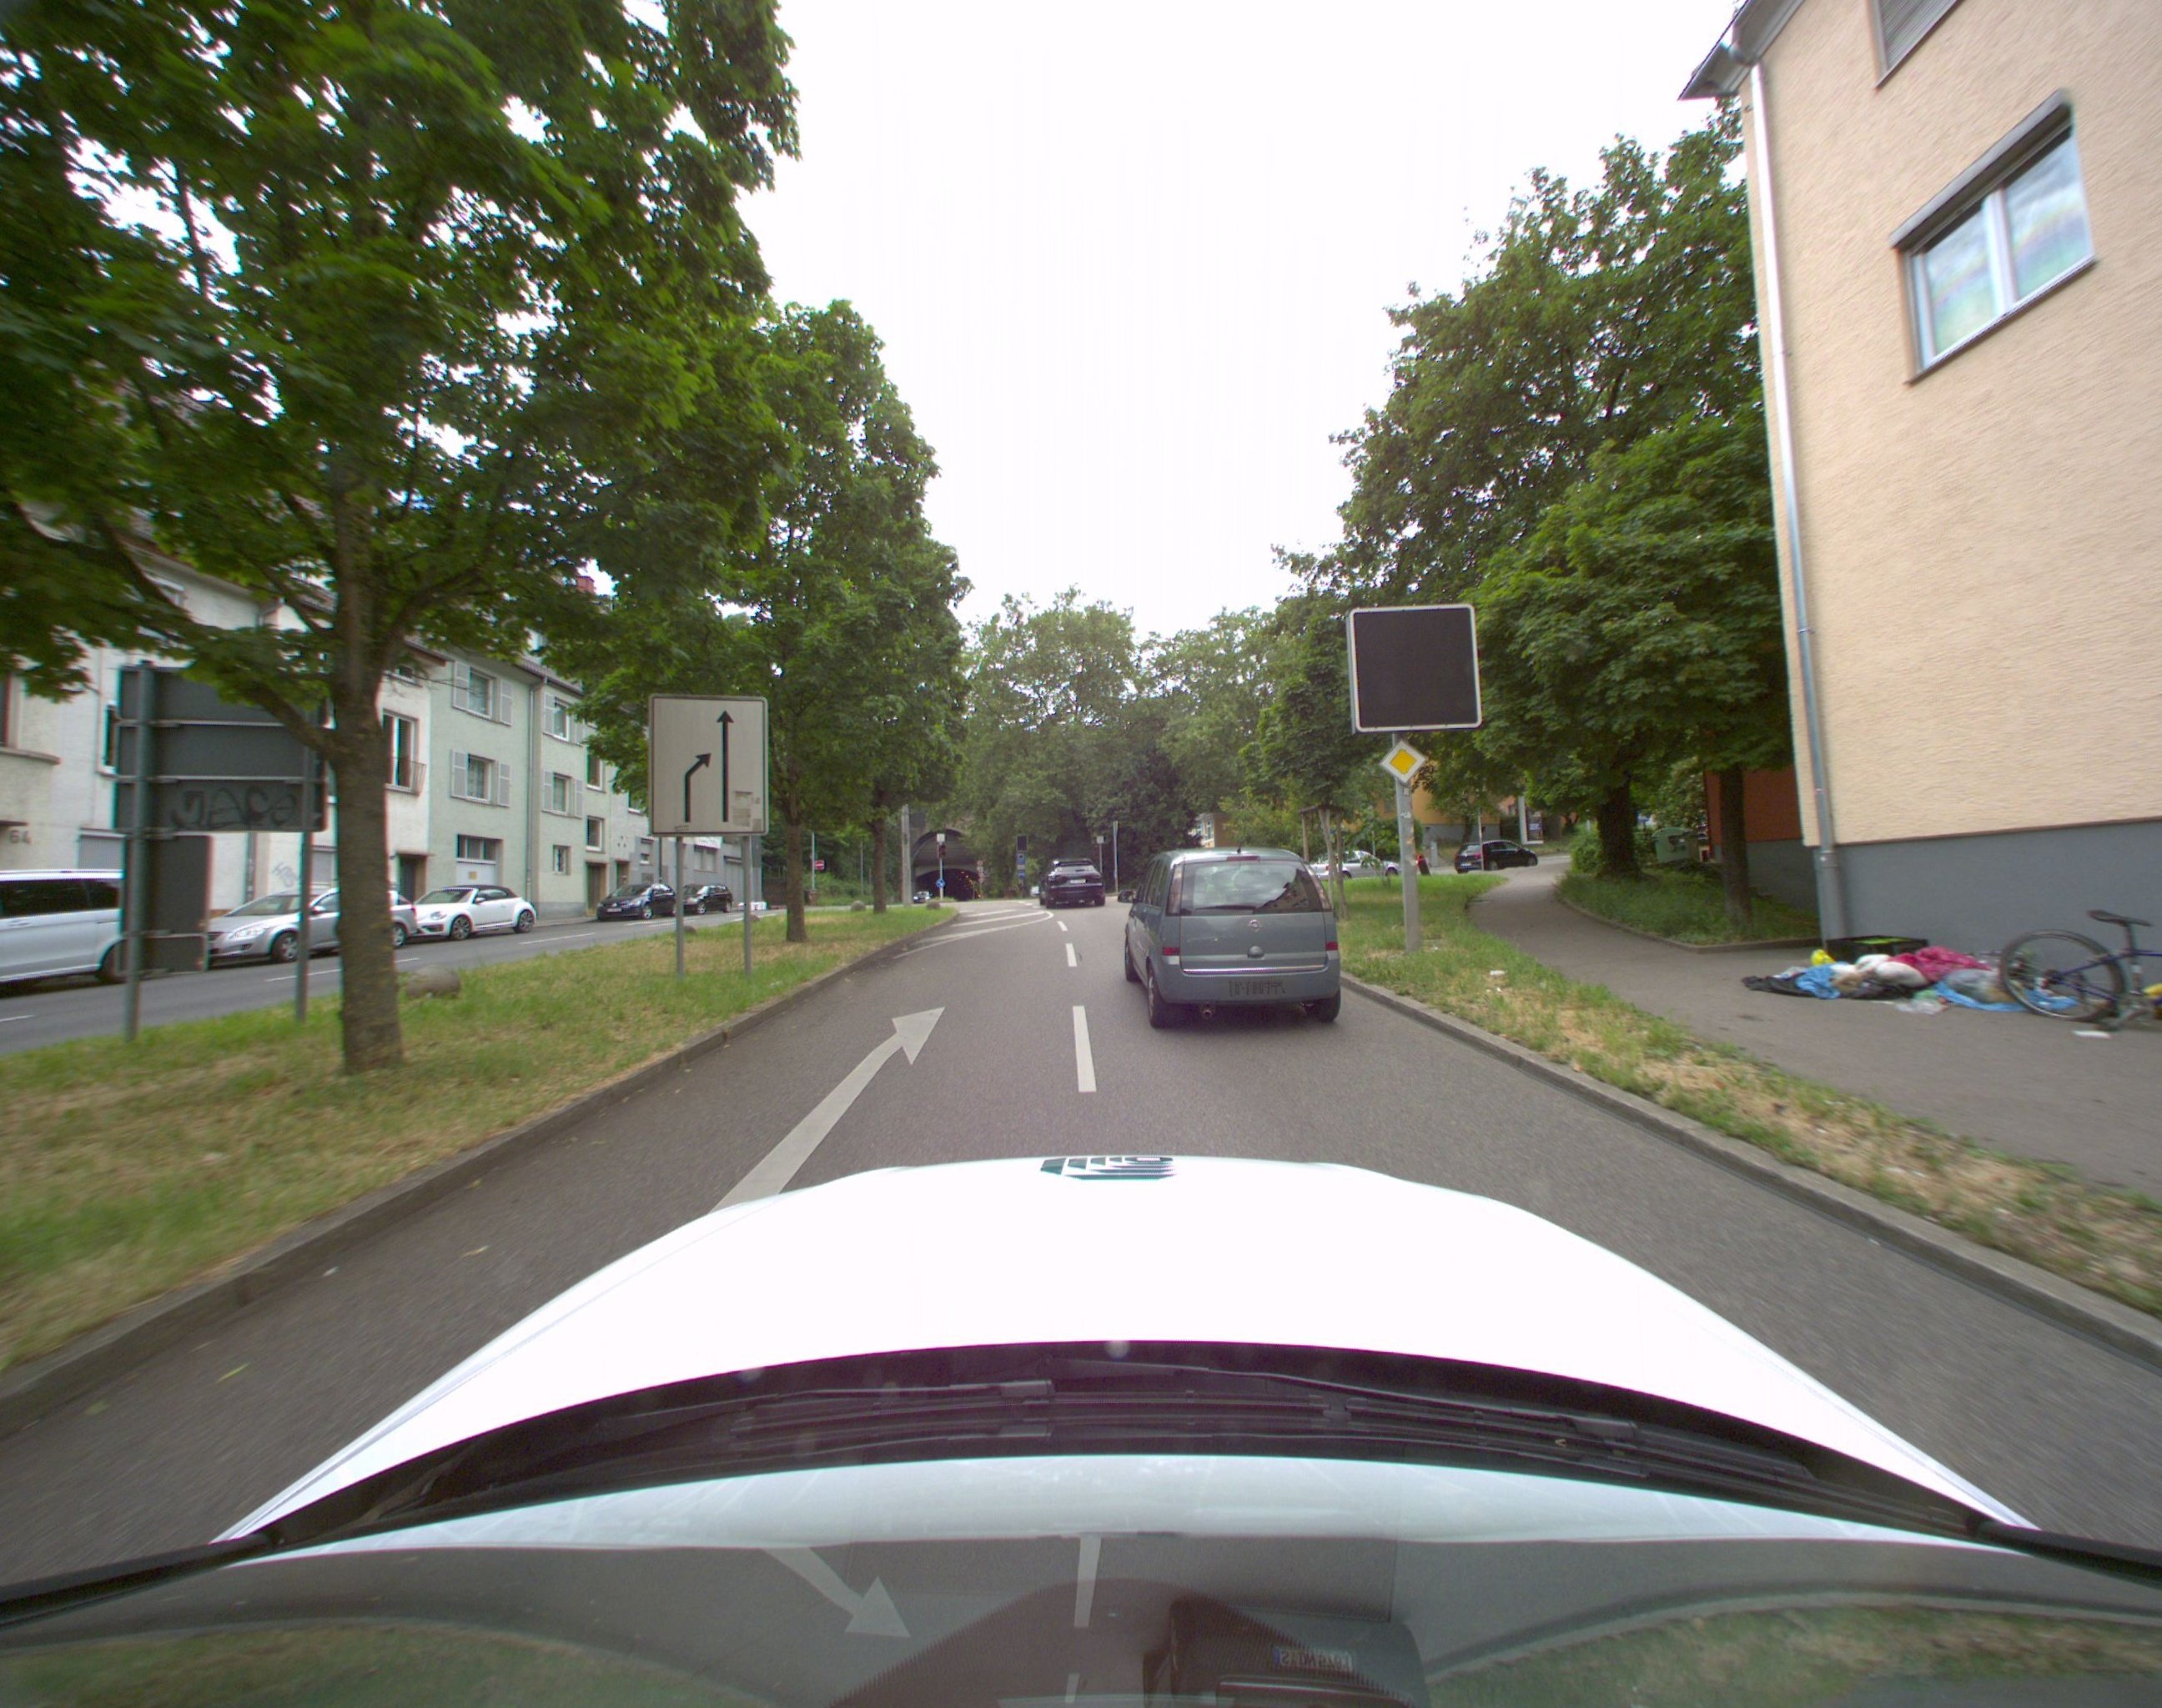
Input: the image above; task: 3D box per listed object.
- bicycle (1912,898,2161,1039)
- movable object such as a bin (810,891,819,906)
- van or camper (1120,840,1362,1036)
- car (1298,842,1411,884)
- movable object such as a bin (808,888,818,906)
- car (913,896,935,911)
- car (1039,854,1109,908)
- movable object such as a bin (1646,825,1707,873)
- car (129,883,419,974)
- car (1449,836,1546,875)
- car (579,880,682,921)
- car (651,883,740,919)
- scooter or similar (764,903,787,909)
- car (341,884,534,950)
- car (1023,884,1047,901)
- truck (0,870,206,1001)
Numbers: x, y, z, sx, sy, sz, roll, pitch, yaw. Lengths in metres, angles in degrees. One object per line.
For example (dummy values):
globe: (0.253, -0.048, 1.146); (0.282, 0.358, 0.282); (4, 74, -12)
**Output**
bicycle: (6.821, 0.738, 5.663); (0.486, 0.773, 1.558); (-3, -1, 2)
movable object such as a bin: (-17.747, 2.978, 54.228); (0.517, 0.968, 0.442); (2, -4, -17)
van or camper: (1.403, 0.696, 8.502); (1.730, 1.578, 3.643); (-1, 0, -1)
car: (11.054, 0.344, 32.893); (4.137, 1.428, 1.847); (-3, 0, -25)
movable object such as a bin: (-18.001, 2.870, 54.722); (0.606, 1.186, 0.489); (2, -4, -17)
car: (-18.483, 5.814, 96.197); (1.866, 1.699, 4.928); (-2, -3, -4)
car: (-0.324, 0.922, 28.320); (1.992, 1.653, 3.990); (-3, -1, -7)
movable object such as a bin: (19.335, -0.157, 26.449); (1.087, 1.450, 1.229); (-2, -3, -36)
car: (-17.115, 1.484, 17.670); (1.989, 1.552, 4.377); (-2, -1, -3)
car: (18.677, 0.047, 36.531); (4.141, 1.428, 1.721); (-3, -2, -28)
car: (-17.772, 1.811, 32.360); (1.991, 1.423, 4.203); (-2, -2, -5)
car: (-17.682, 2.121, 37.613); (1.988, 1.400, 4.515); (-2, -1, -1)
scooter or similar: (-17.074, 2.911, 45.537); (1.126, 0.288, 1.092); (-3, -3, -17)
car: (-17.400, 1.642, 22.324); (1.988, 1.474, 4.155); (-2, -1, -1)
car: (-4.235, 3.521, 74.201); (1.783, 1.442, 5.049); (-3, -3, -7)
truck: (-16.944, 1.243, 12.195); (1.989, 1.920, 5.342); (-2, -1, -2)
